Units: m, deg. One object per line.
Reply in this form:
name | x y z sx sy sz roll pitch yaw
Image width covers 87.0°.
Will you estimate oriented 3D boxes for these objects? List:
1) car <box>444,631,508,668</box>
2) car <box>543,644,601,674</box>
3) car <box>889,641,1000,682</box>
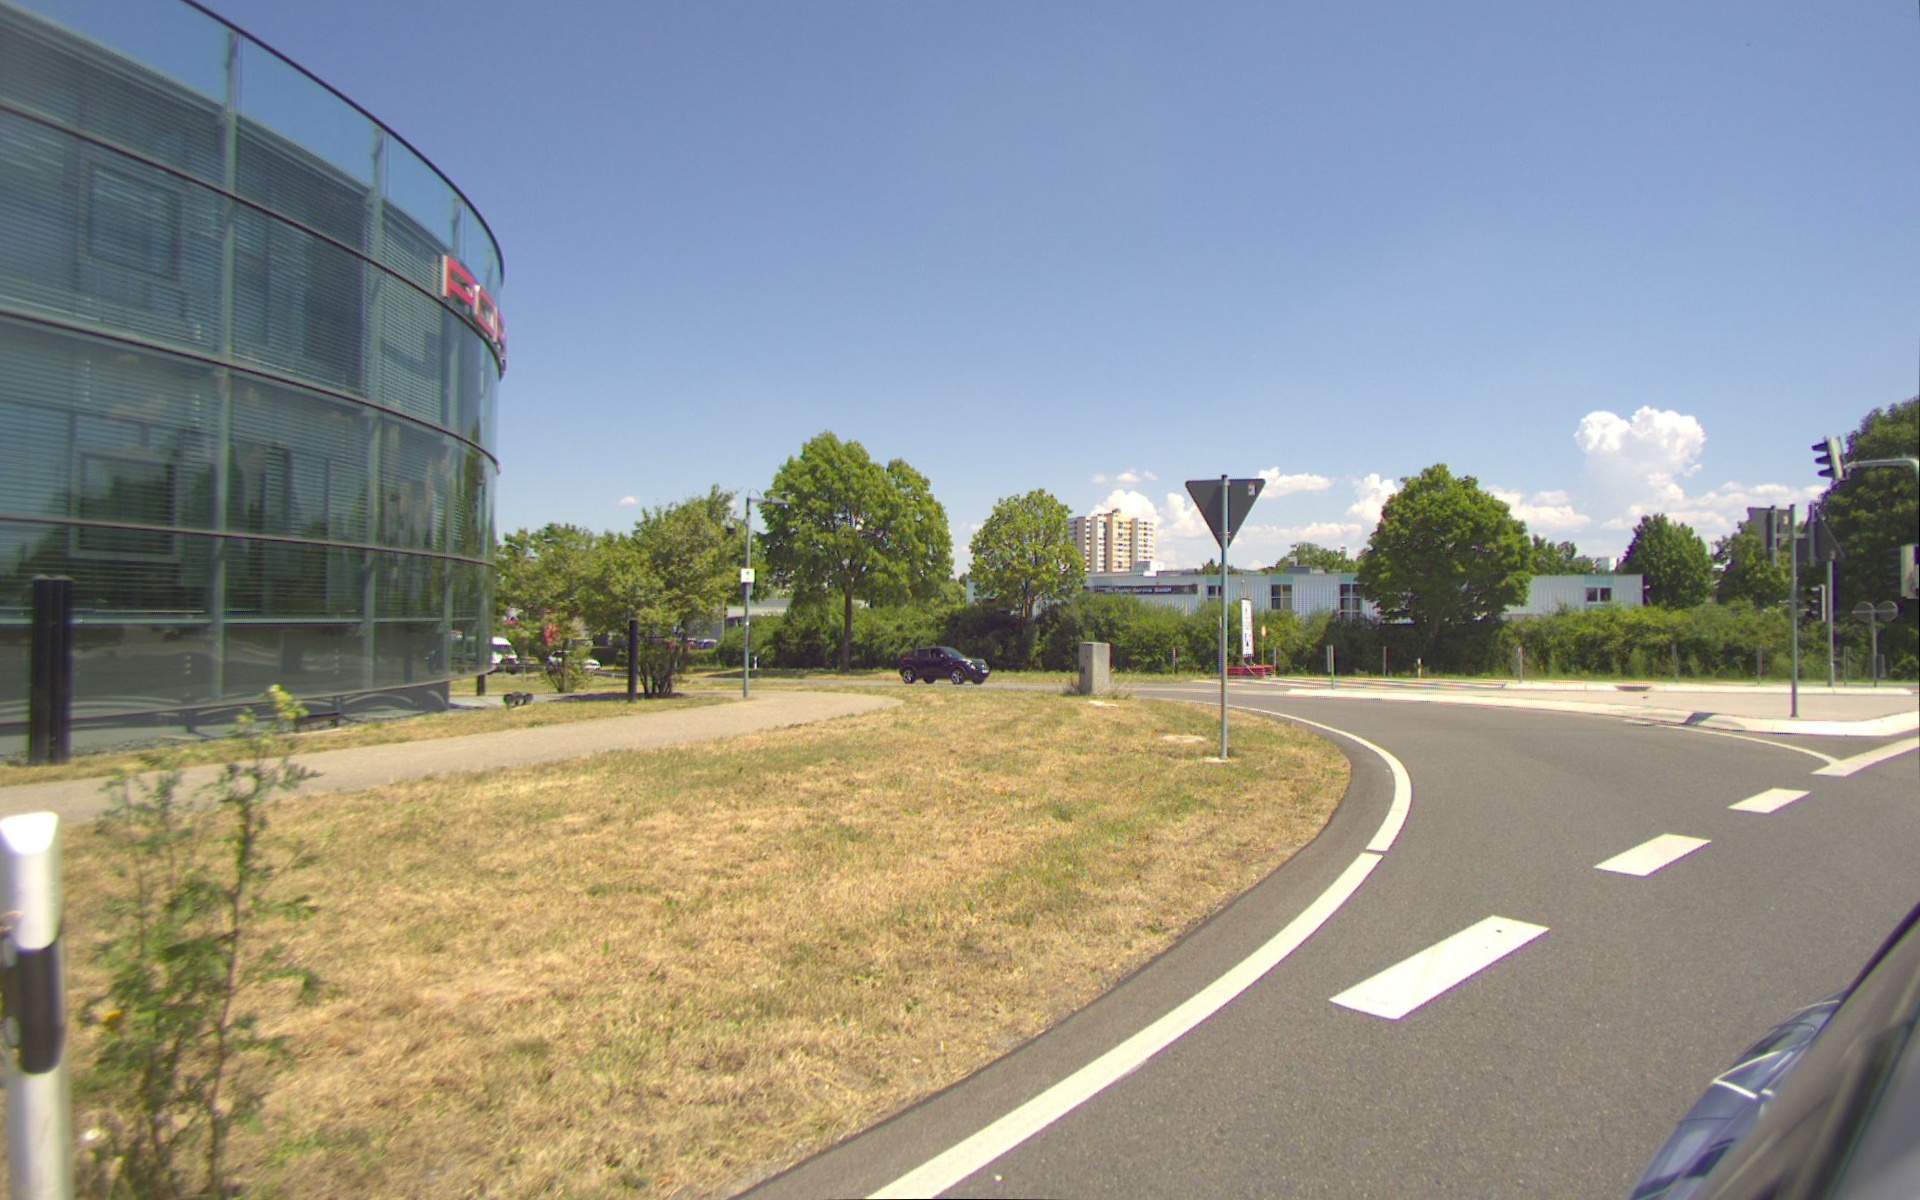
car | -31.739 3.179 66.288 4.995 2.326 2.023 -1 -2 42
car | -25.280 3.810 65.887 4.229 1.834 1.840 -2 -2 42
car | -0.675 2.530 42.490 4.319 1.620 1.916 -1 -2 32
